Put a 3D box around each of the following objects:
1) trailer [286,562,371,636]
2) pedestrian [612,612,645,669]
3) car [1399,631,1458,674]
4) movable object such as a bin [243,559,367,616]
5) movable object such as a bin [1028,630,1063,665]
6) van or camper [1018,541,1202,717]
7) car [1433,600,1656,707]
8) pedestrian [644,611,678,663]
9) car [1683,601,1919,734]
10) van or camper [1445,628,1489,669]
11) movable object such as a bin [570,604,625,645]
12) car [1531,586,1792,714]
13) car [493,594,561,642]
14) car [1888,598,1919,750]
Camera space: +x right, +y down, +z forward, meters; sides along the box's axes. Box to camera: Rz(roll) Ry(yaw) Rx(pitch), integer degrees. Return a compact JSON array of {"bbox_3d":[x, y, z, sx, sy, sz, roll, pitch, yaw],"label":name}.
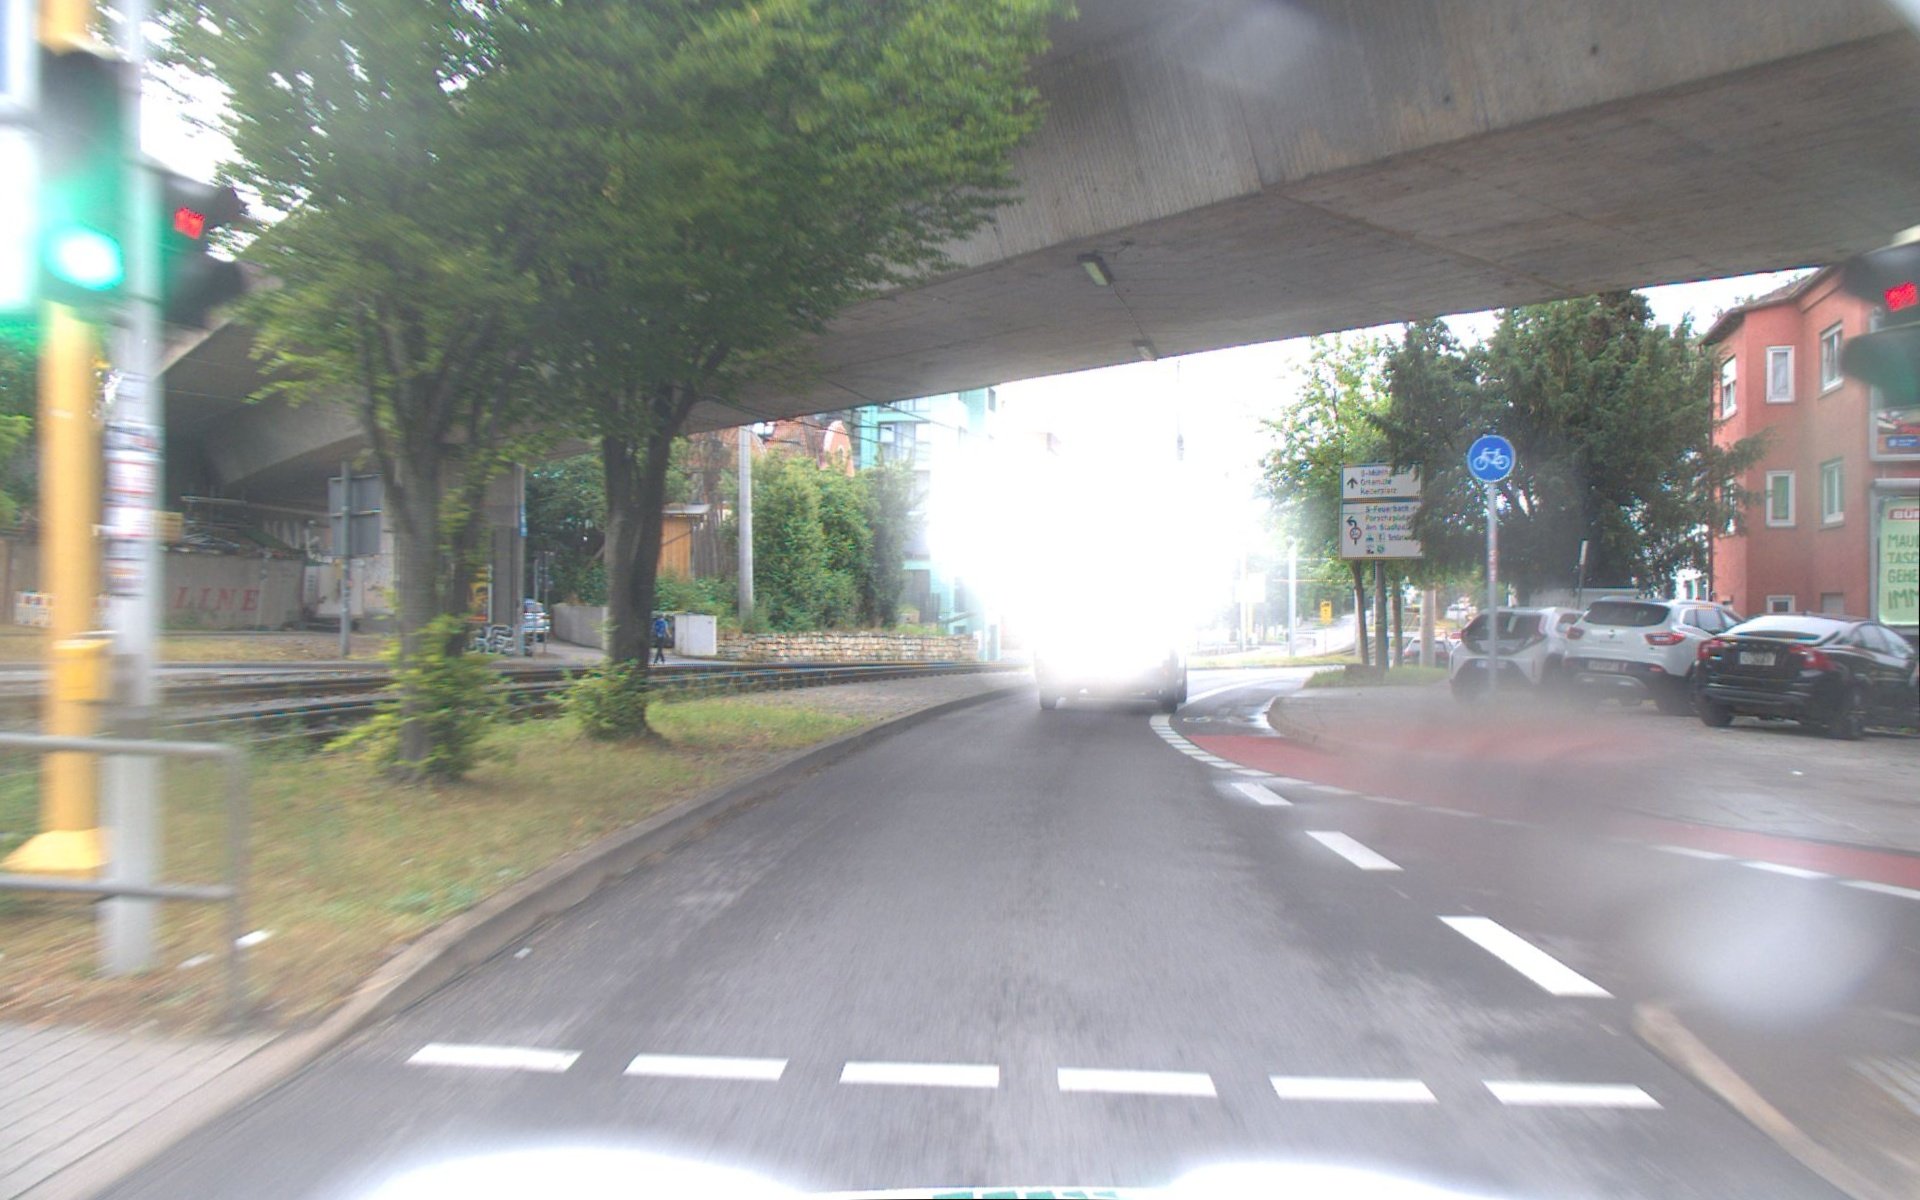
[{"bbox_3d":[-24.861,-0.048,65.030,1.979,2.773,4.068,2,-1,-37],"label":"trailer"},{"bbox_3d":[-10.946,1.340,54.659,0.679,1.863,0.866,1,-1,20],"label":"pedestrian"},{"bbox_3d":[17.141,1.921,60.364,1.642,1.448,4.565,1,-2,21],"label":"car"},{"bbox_3d":[-31.271,-0.552,79.126,2.572,2.496,5.464,2,-1,17],"label":"movable object such as a bin"},{"bbox_3d":[5.808,3.212,112.510,2.088,2.194,1.804,2,0,11],"label":"movable object such as a bin"},{"bbox_3d":[2.362,0.443,24.746,2.152,2.292,4.687,2,-1,12],"label":"van or camper"},{"bbox_3d":[9.236,0.820,26.035,3.704,1.548,1.775,2,-1,-42],"label":"car"},{"bbox_3d":[-9.837,1.216,54.473,0.679,1.699,0.888,1,-1,22],"label":"pedestrian"},{"bbox_3d":[10.774,0.798,20.582,4.015,1.464,1.760,2,0,-42],"label":"car"},{"bbox_3d":[24.823,2.387,80.945,1.812,1.954,4.995,0,-2,20],"label":"van or camper"},{"bbox_3d":[-14.395,0.972,65.663,1.544,1.505,1.780,2,0,-35],"label":"movable object such as a bin"},{"bbox_3d":[10.060,0.688,23.594,3.989,1.659,1.937,2,-1,-42],"label":"car"},{"bbox_3d":[-17.290,0.694,65.978,1.697,1.696,3.164,3,0,-32],"label":"car"},{"bbox_3d":[12.054,0.889,18.235,3.961,1.599,1.878,4,-2,-40],"label":"car"}]
